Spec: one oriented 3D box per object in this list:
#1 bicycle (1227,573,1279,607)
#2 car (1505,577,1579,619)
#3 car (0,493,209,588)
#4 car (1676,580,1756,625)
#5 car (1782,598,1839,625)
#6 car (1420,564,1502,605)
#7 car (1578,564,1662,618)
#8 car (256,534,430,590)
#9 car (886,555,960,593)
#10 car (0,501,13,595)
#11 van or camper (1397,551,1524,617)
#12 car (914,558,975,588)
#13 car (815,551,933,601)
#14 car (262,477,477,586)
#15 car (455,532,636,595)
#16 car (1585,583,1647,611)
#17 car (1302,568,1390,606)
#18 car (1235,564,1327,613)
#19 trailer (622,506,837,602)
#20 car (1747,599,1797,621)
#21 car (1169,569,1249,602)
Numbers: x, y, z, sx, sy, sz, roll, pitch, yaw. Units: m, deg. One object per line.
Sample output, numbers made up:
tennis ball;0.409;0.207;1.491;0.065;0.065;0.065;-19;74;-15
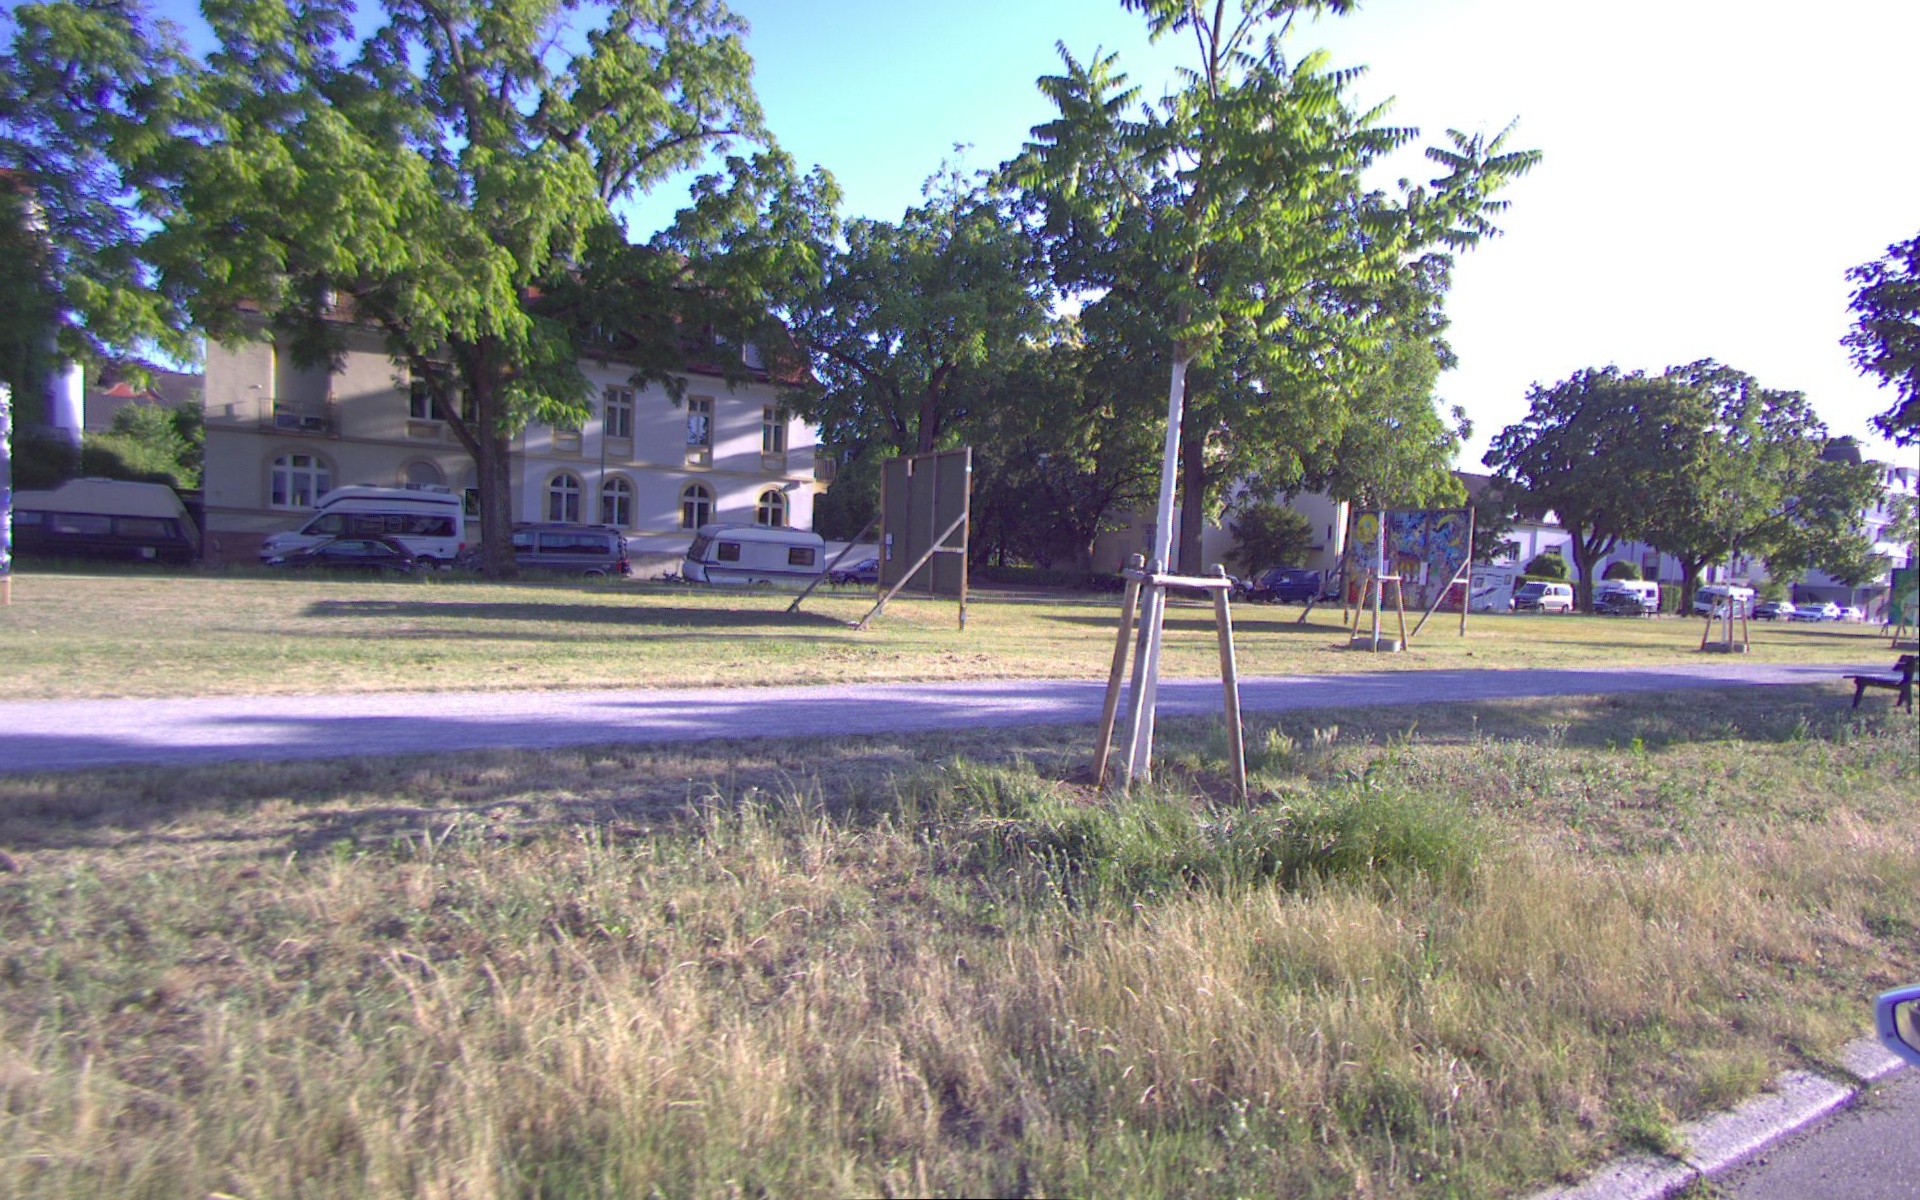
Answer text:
bicycle;12.212;-0.417;41.901;2.300;1.360;0.509;1;3;-27
car;39.523;-0.103;68.129;5.266;2.638;2.124;2;-2;-32
car;-21.927;-1.462;25.396;4.520;2.204;1.982;0;3;-32
car;51.374;0.216;68.225;5.801;2.863;2.250;2;-2;-30
car;64.573;0.885;76.254;4.586;1.924;1.826;2;-2;-29
car;26.864;-0.850;53.864;3.951;2.041;1.984;1;3;-29
car;47.877;-0.581;72.816;6.685;3.606;2.293;2;-2;-30
car;-17.141;-1.066;28.145;3.990;1.333;1.846;2;3;-27
car;-2.093;-1.451;54.843;1.960;1.925;4.483;1;3;-34
car;-29.758;-1.590;27.608;4.984;2.674;1.936;2;-2;-30
van or camper;26.864;-0.850;53.864;6.820;3.307;2.630;1;3;-29
car;-1.028;-1.766;64.471;2.156;1.703;4.111;1;3;-31
car;-3.657;-1.022;42.996;4.657;1.938;1.881;1;3;-29
car;-19.478;-2.177;33.459;6.003;3.293;1.984;0;3;-30
car;-12.710;-1.102;30.870;4.896;1.664;1.983;2;3;-32
car;40.104;-0.171;61.368;4.260;1.585;1.406;1;3;-31
car;22.444;-0.760;58.398;4.988;2.031;1.961;1;3;-29
car;17.797;-0.567;55.570;5.055;2.450;1.929;2;-2;-29
trailer;-7.649;-1.404;33.660;6.560;2.694;2.461;2;-2;-31
car;69.117;0.845;85.467;4.612;1.725;1.773;2;-2;-30
car;13.137;-0.776;52.937;3.767;1.563;1.983;1;3;-32
